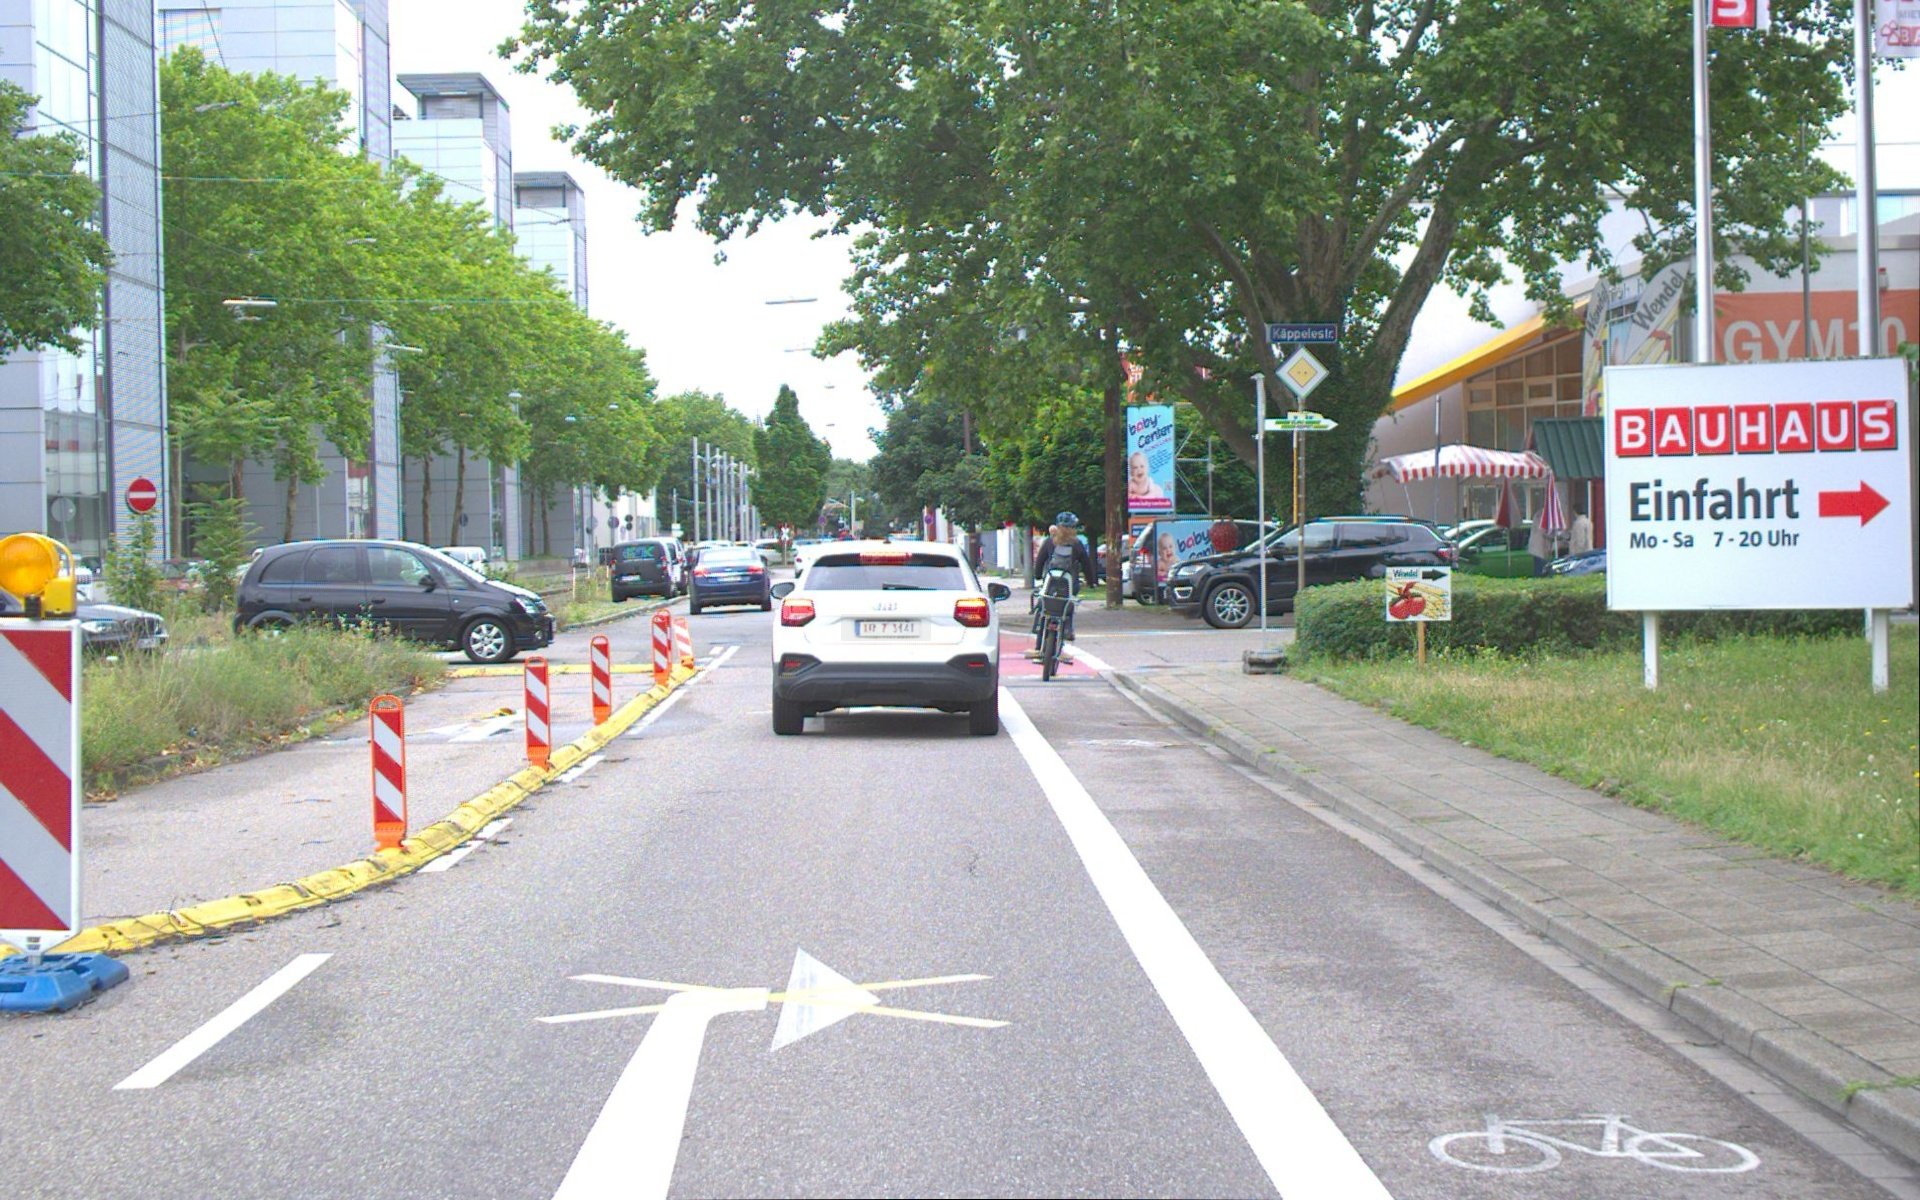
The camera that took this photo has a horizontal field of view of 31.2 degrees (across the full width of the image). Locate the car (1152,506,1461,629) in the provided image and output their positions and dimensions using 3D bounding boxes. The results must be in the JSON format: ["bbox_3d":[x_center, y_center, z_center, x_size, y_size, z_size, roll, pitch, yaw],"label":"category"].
[{"bbox_3d":[5.085,-0.488,50.856,4.314,1.671,1.993,-2,1,0],"label":"car"}]

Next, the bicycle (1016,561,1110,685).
[{"bbox_3d":[1.062,0.220,35.908,0.816,1.208,2.683,-2,1,-1],"label":"bicycle"}]

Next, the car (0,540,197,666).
[{"bbox_3d":[-11.823,0.086,42.948,4.121,1.470,1.823,-2,-1,21],"label":"car"}]

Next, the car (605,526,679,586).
[{"bbox_3d":[-9.068,-1.268,98.346,1.877,1.627,4.001,-2,1,-2],"label":"car"}]

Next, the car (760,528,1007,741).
[{"bbox_3d":[-0.686,0.223,27.931,1.823,1.595,3.776,0,1,-4],"label":"car"}]

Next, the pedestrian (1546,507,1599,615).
[{"bbox_3d":[9.812,-0.631,55.105,0.679,1.699,0.598,-2,1,-3],"label":"pedestrian"}]

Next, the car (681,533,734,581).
[{"bbox_3d":[-9.718,-1.669,132.561,1.877,1.757,4.001,-2,1,-2],"label":"car"}]

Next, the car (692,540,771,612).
[{"bbox_3d":[-5.015,-0.547,75.311,1.684,1.508,3.706,0,1,-4],"label":"car"}]

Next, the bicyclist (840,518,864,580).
[{"bbox_3d":[-3.165,-1.489,100.877,0.670,1.809,0.760,0,1,-4],"label":"bicyclist"}]

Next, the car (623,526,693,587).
[{"bbox_3d":[-9.132,-1.328,104.163,1.877,1.757,4.001,-2,1,-2],"label":"car"}]

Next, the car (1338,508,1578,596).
[{"bbox_3d":[9.461,-0.924,65.456,4.212,1.546,1.790,-2,1,-3],"label":"car"}]

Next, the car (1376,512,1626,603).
[{"bbox_3d":[9.937,-0.792,63.319,4.212,1.546,1.790,-2,1,-3],"label":"car"}]

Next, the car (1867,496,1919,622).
[{"bbox_3d":[14.097,-0.587,43.714,4.553,1.566,1.993,-2,1,-1],"label":"car"}]

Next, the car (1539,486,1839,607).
[{"bbox_3d":[10.897,-0.803,51.651,4.214,1.671,1.992,-1,1,7],"label":"car"}]

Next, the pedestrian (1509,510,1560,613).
[{"bbox_3d":[9.674,-0.650,57.923,0.679,1.699,0.598,-2,1,-3],"label":"pedestrian"}]

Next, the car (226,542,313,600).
[{"bbox_3d":[-20.566,-0.891,102.536,1.877,1.627,4.206,-2,1,-2],"label":"car"}]

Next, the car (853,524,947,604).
[{"bbox_3d":[-1.328,-0.805,74.541,1.877,1.627,4.001,-2,1,-2],"label":"car"}]

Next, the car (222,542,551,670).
[{"bbox_3d":[-7.240,0.069,43.655,3.883,1.550,1.825,1,1,-1],"label":"car"}]

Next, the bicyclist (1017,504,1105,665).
[{"bbox_3d":[1.049,-0.169,35.899,0.816,1.624,1.235,-2,1,-1],"label":"bicyclist"}]

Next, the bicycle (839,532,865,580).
[{"bbox_3d":[-3.160,-1.300,100.801,0.670,1.389,2.167,0,1,-4],"label":"bicycle"}]

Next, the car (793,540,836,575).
[{"bbox_3d":[-6.393,-1.876,150.755,1.795,1.508,3.706,0,1,-4],"label":"car"}]

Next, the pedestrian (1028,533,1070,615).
[{"bbox_3d":[1.888,-0.558,72.761,0.760,1.699,0.681,-2,1,-6],"label":"pedestrian"}]
